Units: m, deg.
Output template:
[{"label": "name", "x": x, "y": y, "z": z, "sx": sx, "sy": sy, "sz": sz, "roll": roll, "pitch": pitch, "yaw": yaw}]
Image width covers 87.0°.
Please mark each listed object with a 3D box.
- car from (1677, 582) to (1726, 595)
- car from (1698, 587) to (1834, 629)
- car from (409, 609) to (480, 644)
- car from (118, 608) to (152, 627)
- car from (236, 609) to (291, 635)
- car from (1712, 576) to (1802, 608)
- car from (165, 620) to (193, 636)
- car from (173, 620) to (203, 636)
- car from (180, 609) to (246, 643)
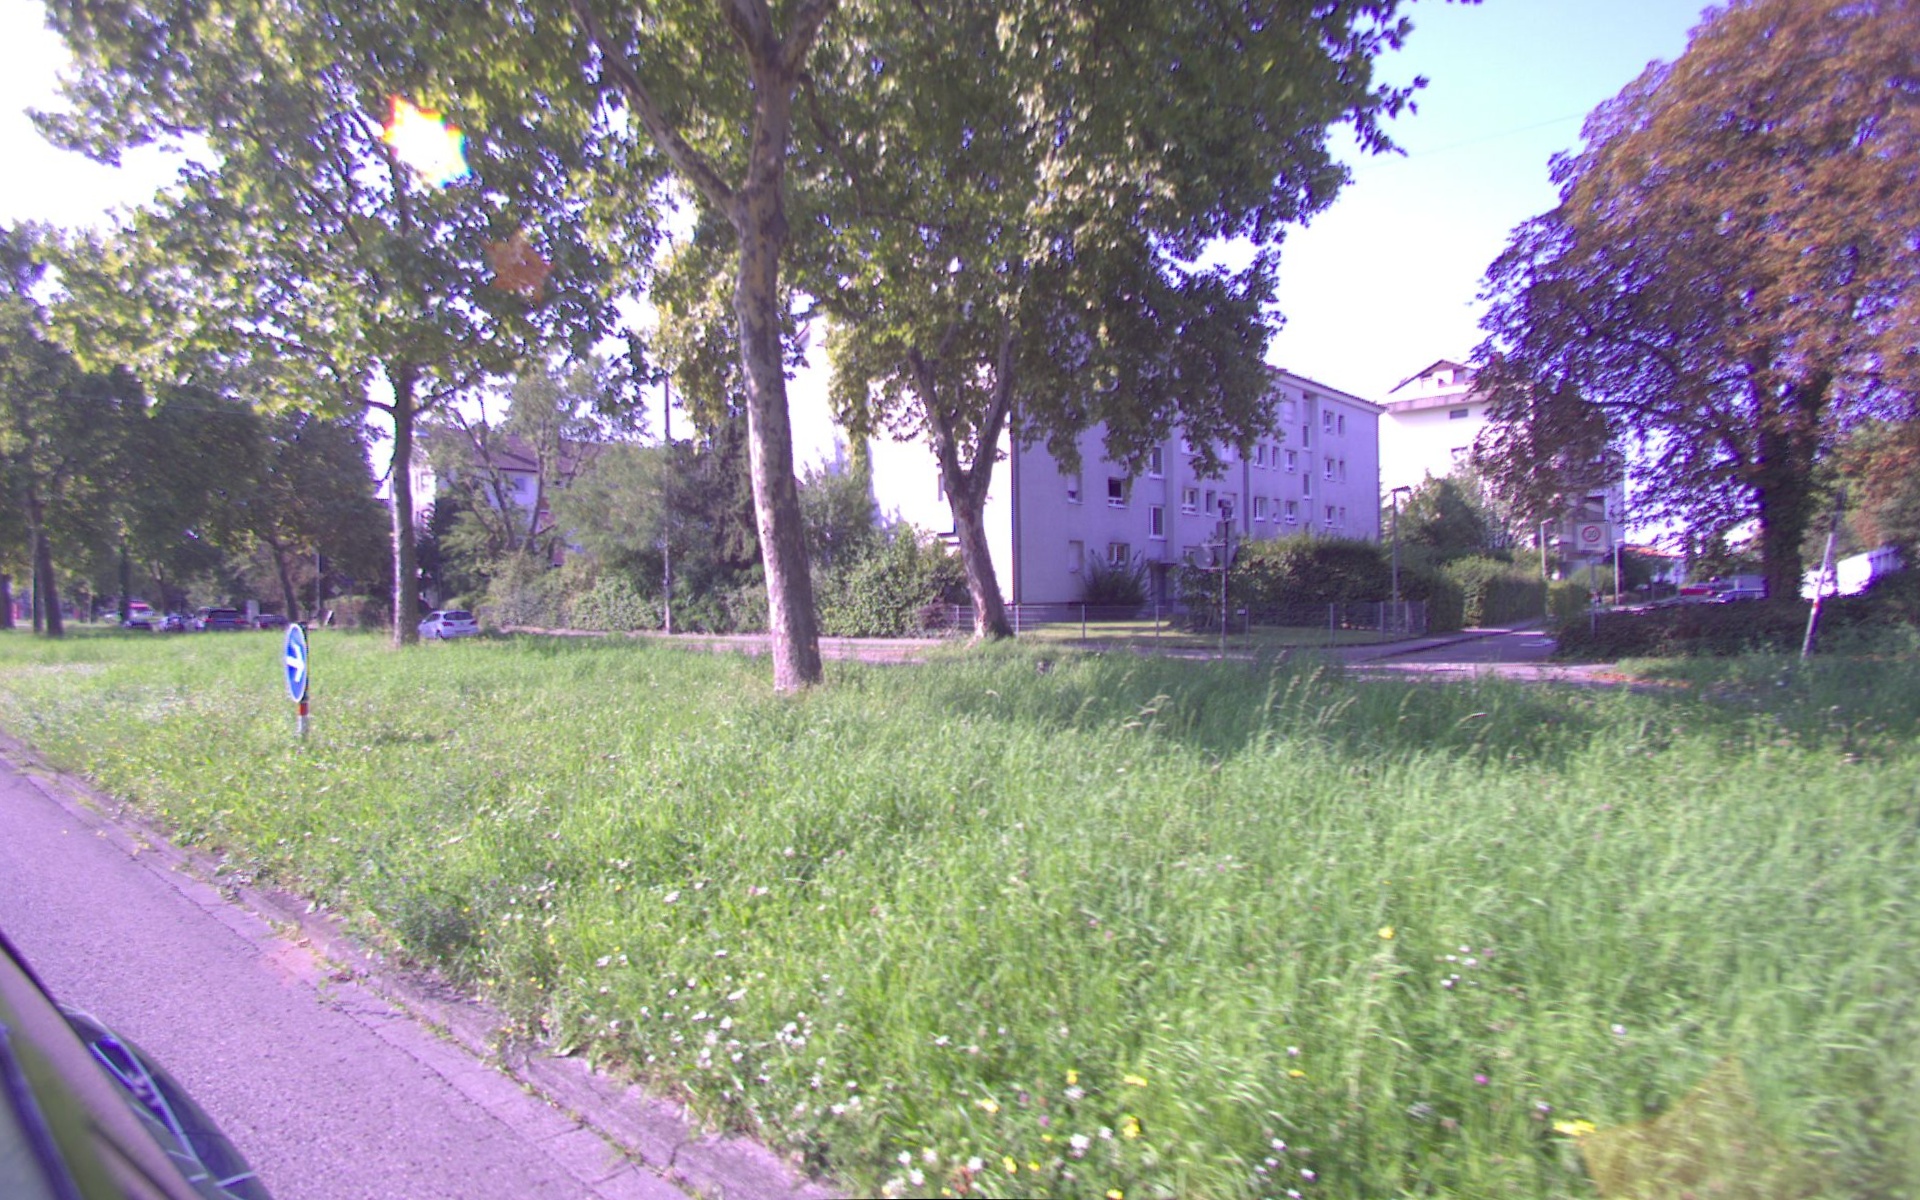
[{"label": "car", "x": 86.659, "y": -1.378, "z": 118.308, "sx": 4.418, "sy": 1.455, "sz": 1.973, "roll": -1, "pitch": 1, "yaw": 41}, {"label": "car", "x": 30.247, "y": 0.317, "z": 38.033, "sx": 3.924, "sy": 1.477, "sz": 1.678, "roll": -1, "pitch": 0, "yaw": 42}, {"label": "car", "x": -23.926, "y": 1.209, "z": 46.894, "sx": 3.898, "sy": 1.490, "sz": 1.628, "roll": -1, "pitch": 1, "yaw": 42}, {"label": "car", "x": -70.650, "y": 1.502, "z": 86.660, "sx": 3.898, "sy": 1.490, "sz": 1.628, "roll": -1, "pitch": 1, "yaw": 42}, {"label": "car", "x": -39.757, "y": 1.253, "z": 57.752, "sx": 3.896, "sy": 1.374, "sz": 1.628, "roll": -2, "pitch": 0, "yaw": 40}, {"label": "car", "x": 48.590, "y": -0.466, "z": 61.759, "sx": 4.236, "sy": 1.831, "sz": 1.678, "roll": -1, "pitch": 0, "yaw": 42}, {"label": "car", "x": -71.286, "y": 2.551, "z": 92.333, "sx": 3.524, "sy": 1.417, "sz": 1.591, "roll": -1, "pitch": -1, "yaw": 44}, {"label": "car", "x": -67.802, "y": 2.413, "z": 88.908, "sx": 3.524, "sy": 1.301, "sz": 1.591, "roll": -1, "pitch": 1, "yaw": 44}, {"label": "car", "x": -38.011, "y": 1.294, "z": 51.473, "sx": 4.855, "sy": 1.629, "sz": 1.756, "roll": -1, "pitch": 1, "yaw": 42}]
